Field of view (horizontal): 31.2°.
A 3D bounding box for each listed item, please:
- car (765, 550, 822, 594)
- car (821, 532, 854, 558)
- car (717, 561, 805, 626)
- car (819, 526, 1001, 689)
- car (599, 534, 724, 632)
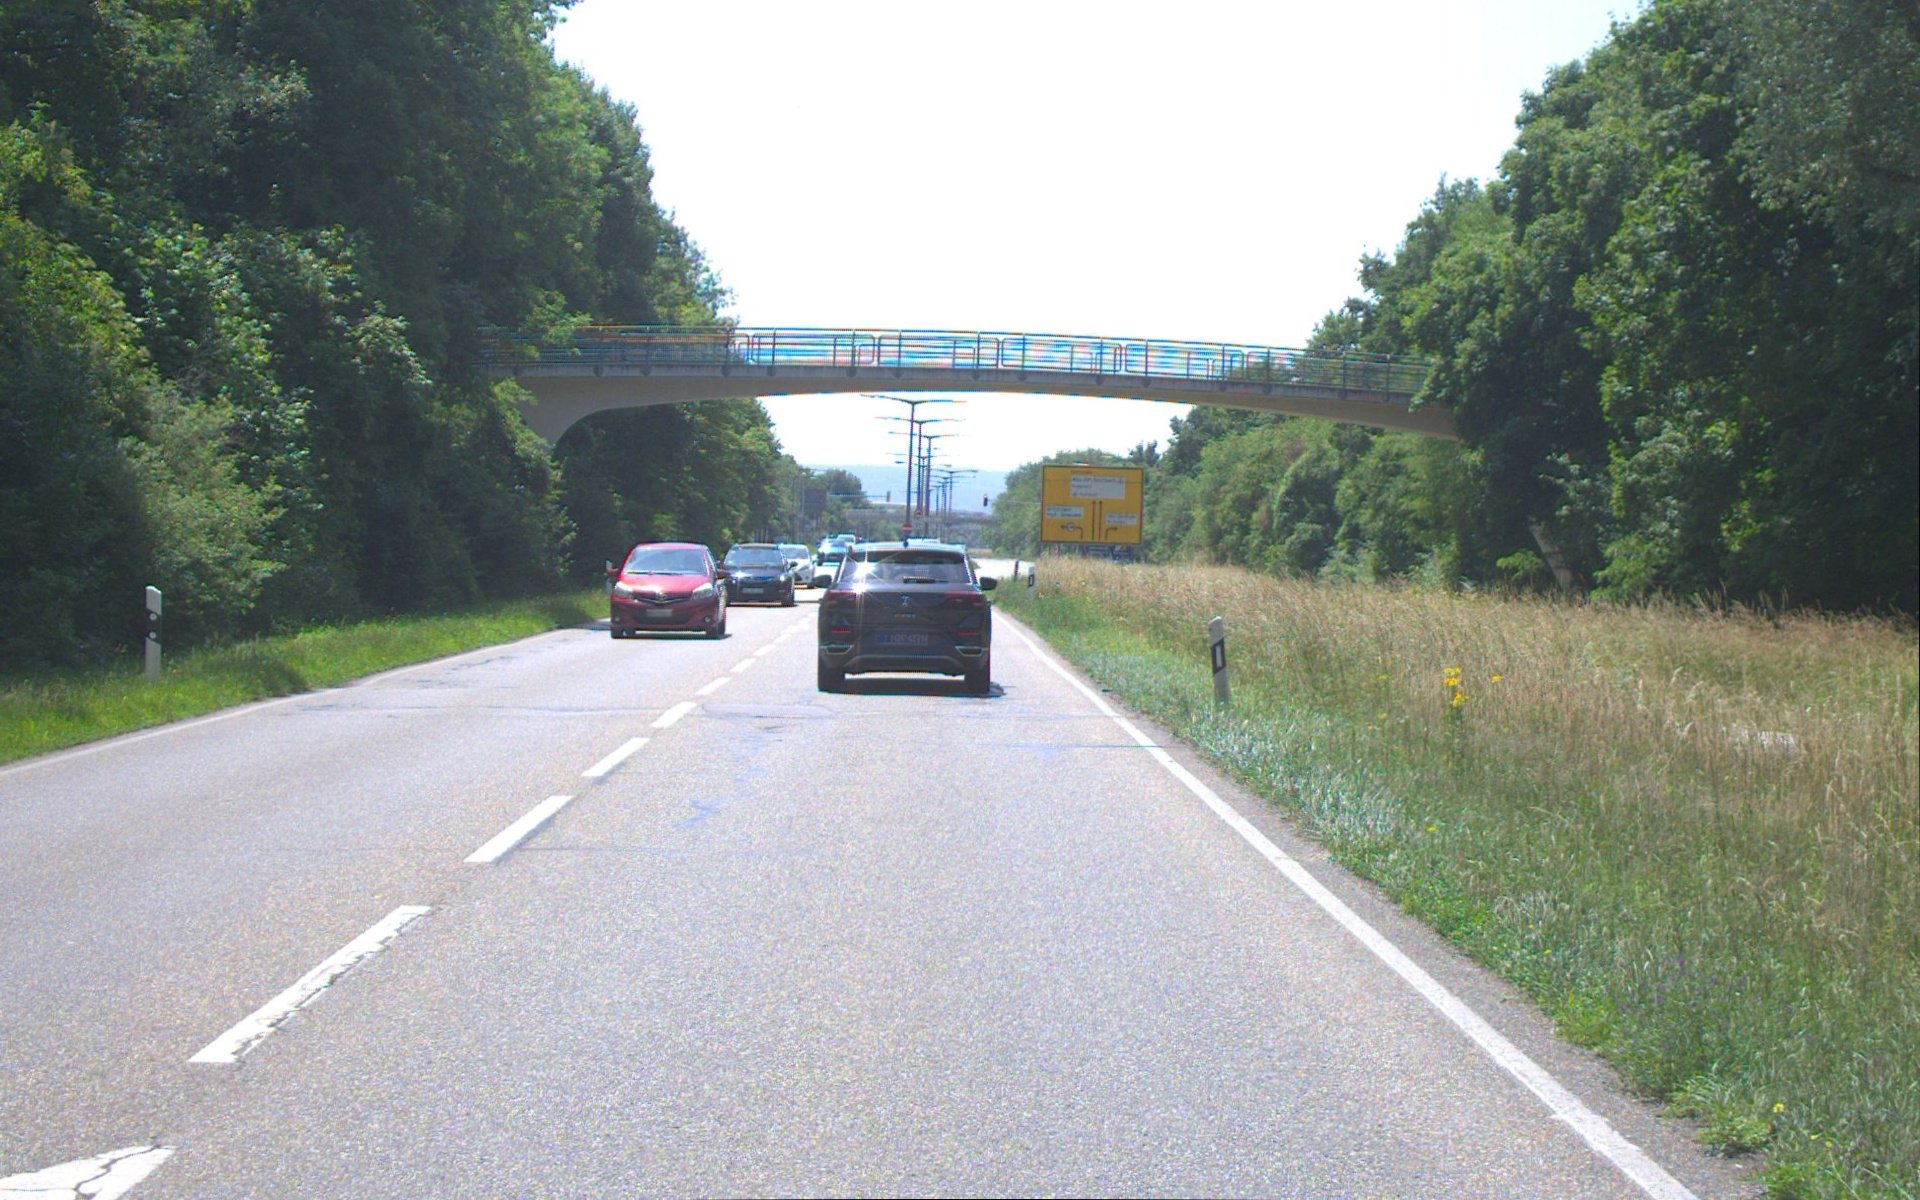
[{"bbox_3d":[-5.534,-0.931,114.366,1.677,1.428,3.772,0,1,1],"label":"car"},{"bbox_3d":[-7.335,-3.295,206.132,1.823,1.584,4.419,0,1,0],"label":"car"},{"bbox_3d":[-4.691,-0.178,81.683,1.784,1.444,4.109,1,1,1],"label":"car"},{"bbox_3d":[-0.517,0.053,36.147,1.755,1.551,4.000,2,1,-1],"label":"car"},{"bbox_3d":[-4.732,-0.301,54.915,1.682,1.488,4.000,0,1,-1],"label":"car"}]
